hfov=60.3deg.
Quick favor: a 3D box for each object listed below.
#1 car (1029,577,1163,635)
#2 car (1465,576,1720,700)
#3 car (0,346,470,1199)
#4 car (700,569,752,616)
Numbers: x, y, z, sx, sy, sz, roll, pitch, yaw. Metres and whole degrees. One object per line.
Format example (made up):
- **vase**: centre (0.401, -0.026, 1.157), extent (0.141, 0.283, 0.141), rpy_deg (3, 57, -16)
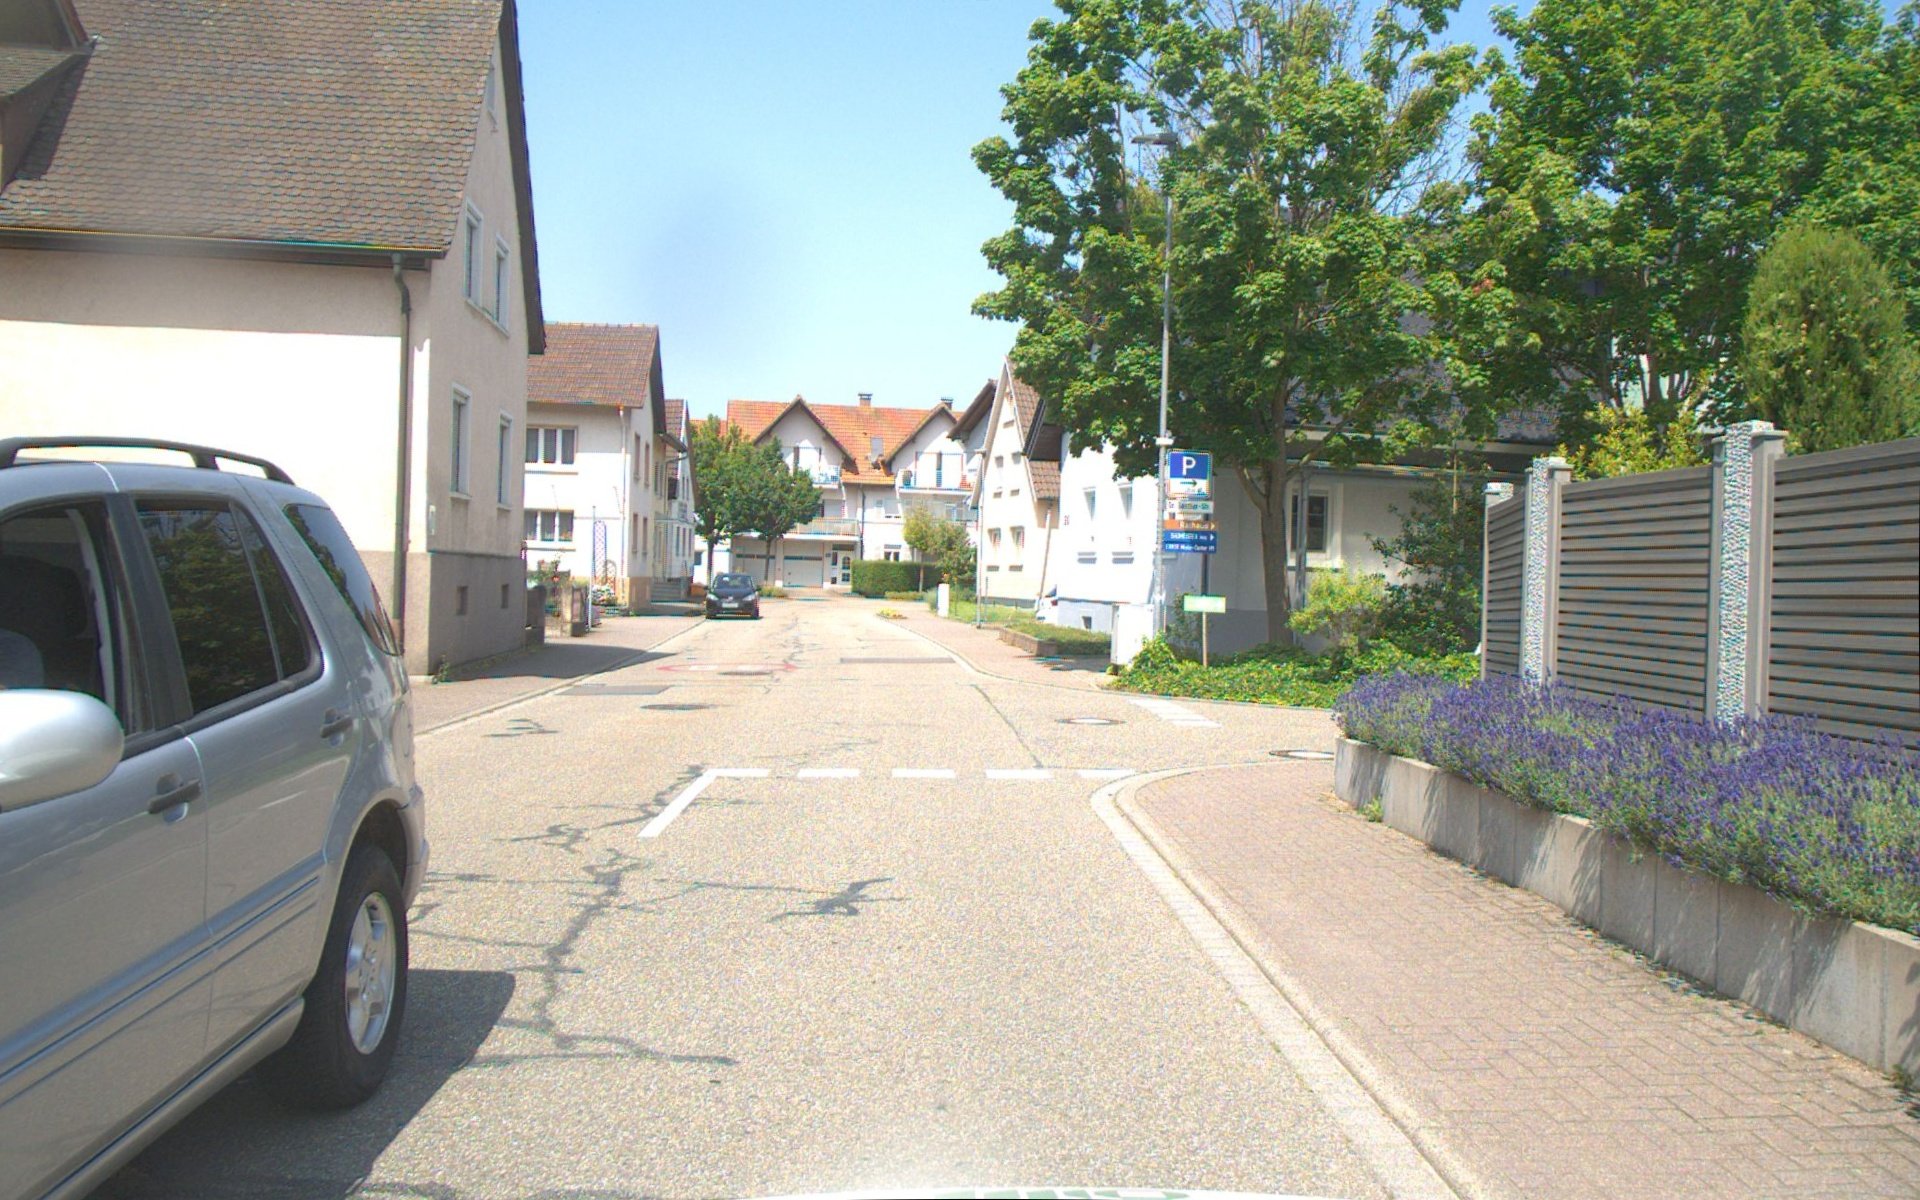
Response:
- **car**: centre (3.336, 0.141, 40.729), extent (2.990, 1.369, 1.418), rpy_deg (1, 0, -13)
- **car**: centre (8.587, 0.470, 22.773), extent (1.564, 1.470, 3.557), rpy_deg (1, 2, -12)
- **car**: centre (-2.443, 0.488, 3.180), extent (1.847, 1.798, 4.329), rpy_deg (0, 1, -2)
- **car**: centre (-7.742, -0.280, 54.937), extent (1.595, 1.512, 3.994), rpy_deg (0, 1, -7)
